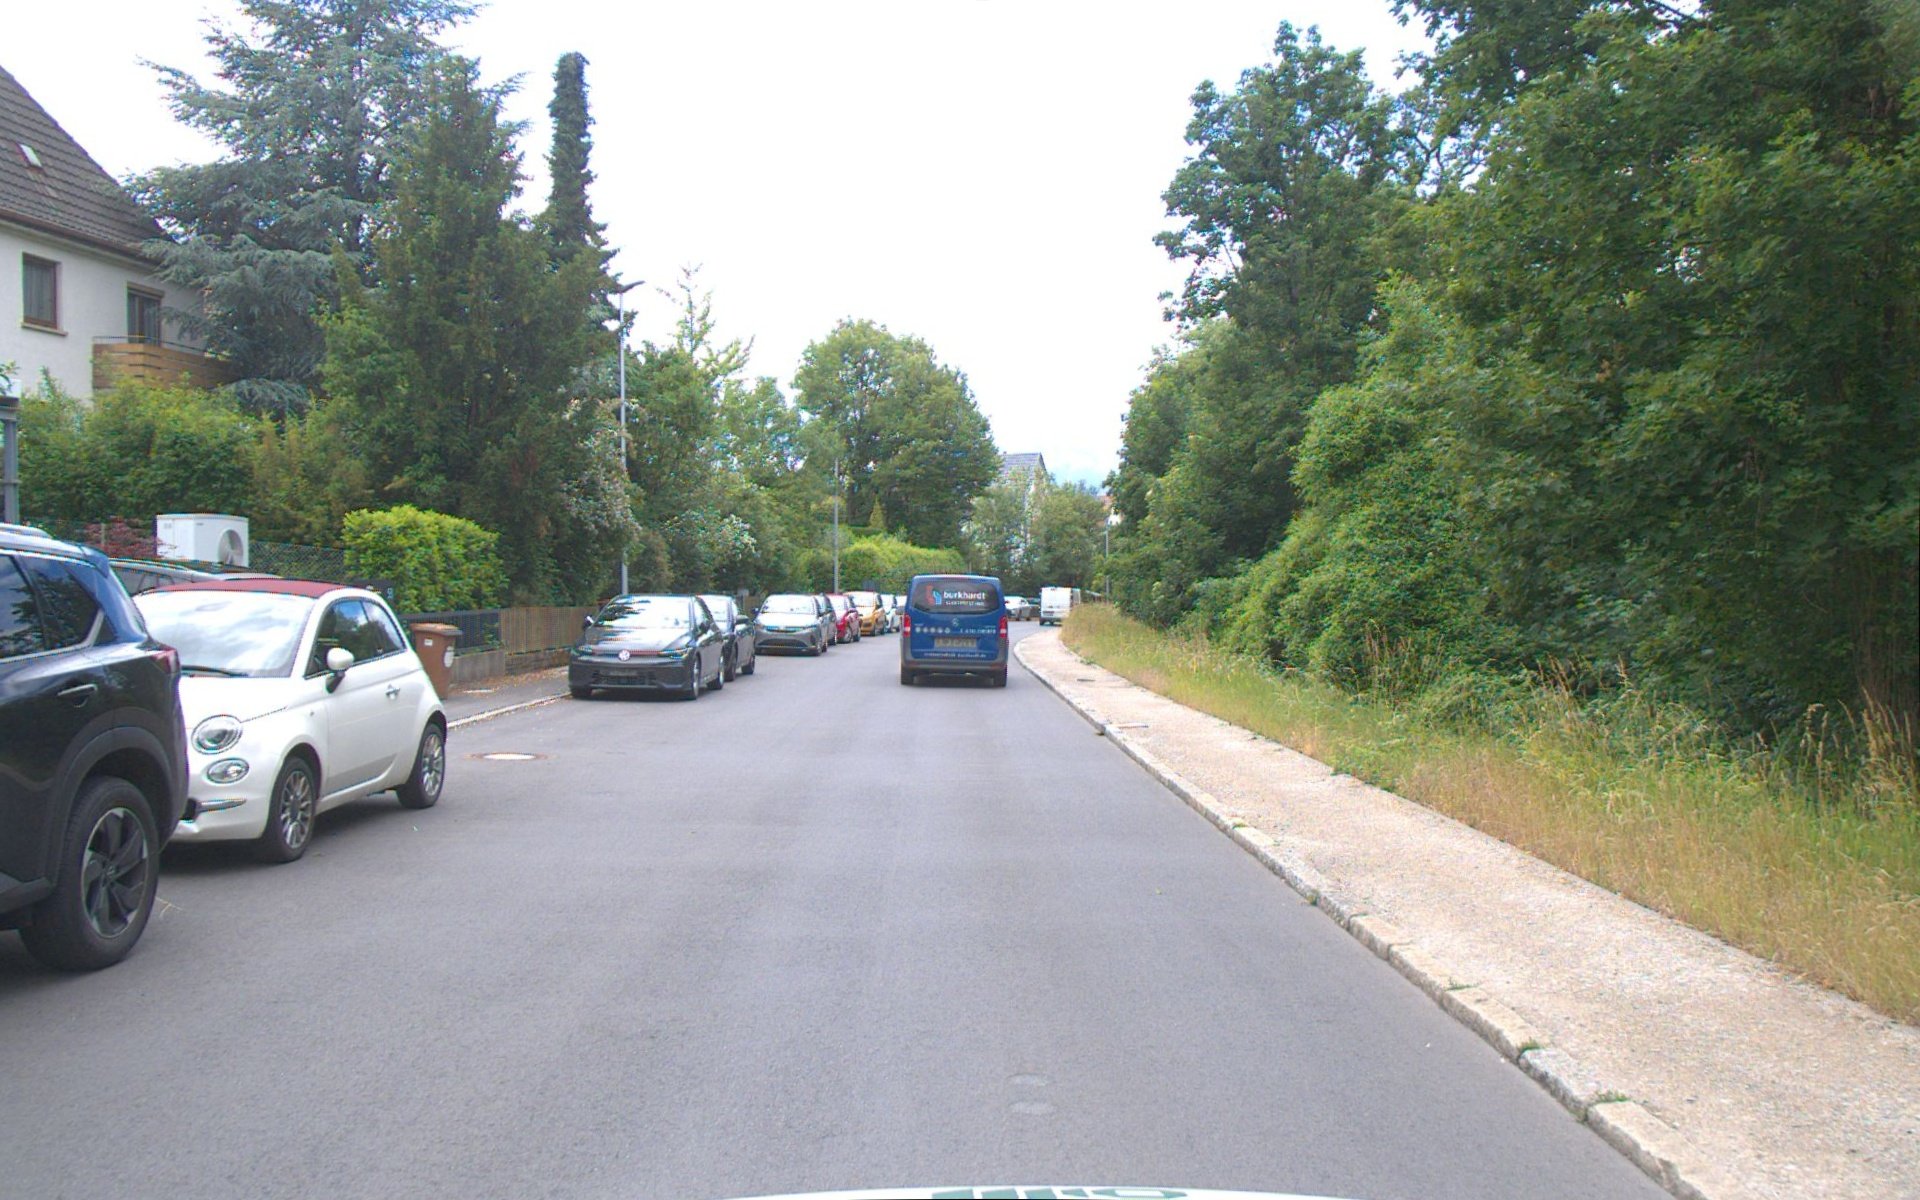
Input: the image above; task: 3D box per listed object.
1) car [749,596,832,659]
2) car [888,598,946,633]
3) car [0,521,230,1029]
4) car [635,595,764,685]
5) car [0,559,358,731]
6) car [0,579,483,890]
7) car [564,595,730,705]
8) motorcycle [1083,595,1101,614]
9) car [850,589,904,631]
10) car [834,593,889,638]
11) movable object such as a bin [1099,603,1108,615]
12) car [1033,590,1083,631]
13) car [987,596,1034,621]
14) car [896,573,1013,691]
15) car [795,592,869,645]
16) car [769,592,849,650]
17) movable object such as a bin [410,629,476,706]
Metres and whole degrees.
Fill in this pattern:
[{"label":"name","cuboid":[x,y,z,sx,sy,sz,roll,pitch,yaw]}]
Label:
[{"label":"car","cuboid":[-4.161,0.643,41.051,1.672,1.434,4.160,1,0,-1]},{"label":"car","cuboid":[-1.833,0.651,71.567,1.681,1.409,4.667,1,0,9]},{"label":"car","cuboid":[-4.071,0.574,4.999,1.755,1.693,4.391,1,0,0]},{"label":"car","cuboid":[-4.506,0.648,29.160,1.672,1.441,4.131,1,0,-1]},{"label":"car","cuboid":[-8.568,0.405,17.232,3.902,1.574,1.843,2,0,13]},{"label":"car","cuboid":[-4.336,0.662,10.217,1.672,1.538,3.945,1,0,-1]},{"label":"car","cuboid":[-4.462,0.663,24.124,1.672,1.441,4.148,1,0,-1]},{"label":"motorcycle","cuboid":[10.991,0.405,137.496,0.793,1.511,2.896,1,-1,19]},{"label":"car","cuboid":[-3.185,0.375,63.975,1.554,1.541,3.593,1,0,6]},{"label":"car","cuboid":[-3.504,0.548,59.371,1.511,1.541,3.646,1,0,4]},{"label":"movable object such as a bin","cuboid":[12.093,0.766,139.338,0.579,0.925,0.700,1,-1,24]},{"label":"car","cuboid":[5.228,0.540,87.677,2.159,2.100,6.139,0,0,8]},{"label":"car","cuboid":[2.987,0.473,96.859,1.792,1.398,4.448,1,0,14]},{"label":"car","cuboid":[-0.163,0.523,29.469,1.897,1.913,4.529,1,0,-2]},{"label":"car","cuboid":[-3.971,0.548,51.904,1.671,1.541,4.366,1,0,4]},{"label":"car","cuboid":[-4.255,0.557,47.187,1.671,1.541,4.497,1,0,2]},{"label":"movable object such as a bin","cuboid":[-6.534,0.845,20.917,0.616,0.938,0.654,0,0,0]}]
